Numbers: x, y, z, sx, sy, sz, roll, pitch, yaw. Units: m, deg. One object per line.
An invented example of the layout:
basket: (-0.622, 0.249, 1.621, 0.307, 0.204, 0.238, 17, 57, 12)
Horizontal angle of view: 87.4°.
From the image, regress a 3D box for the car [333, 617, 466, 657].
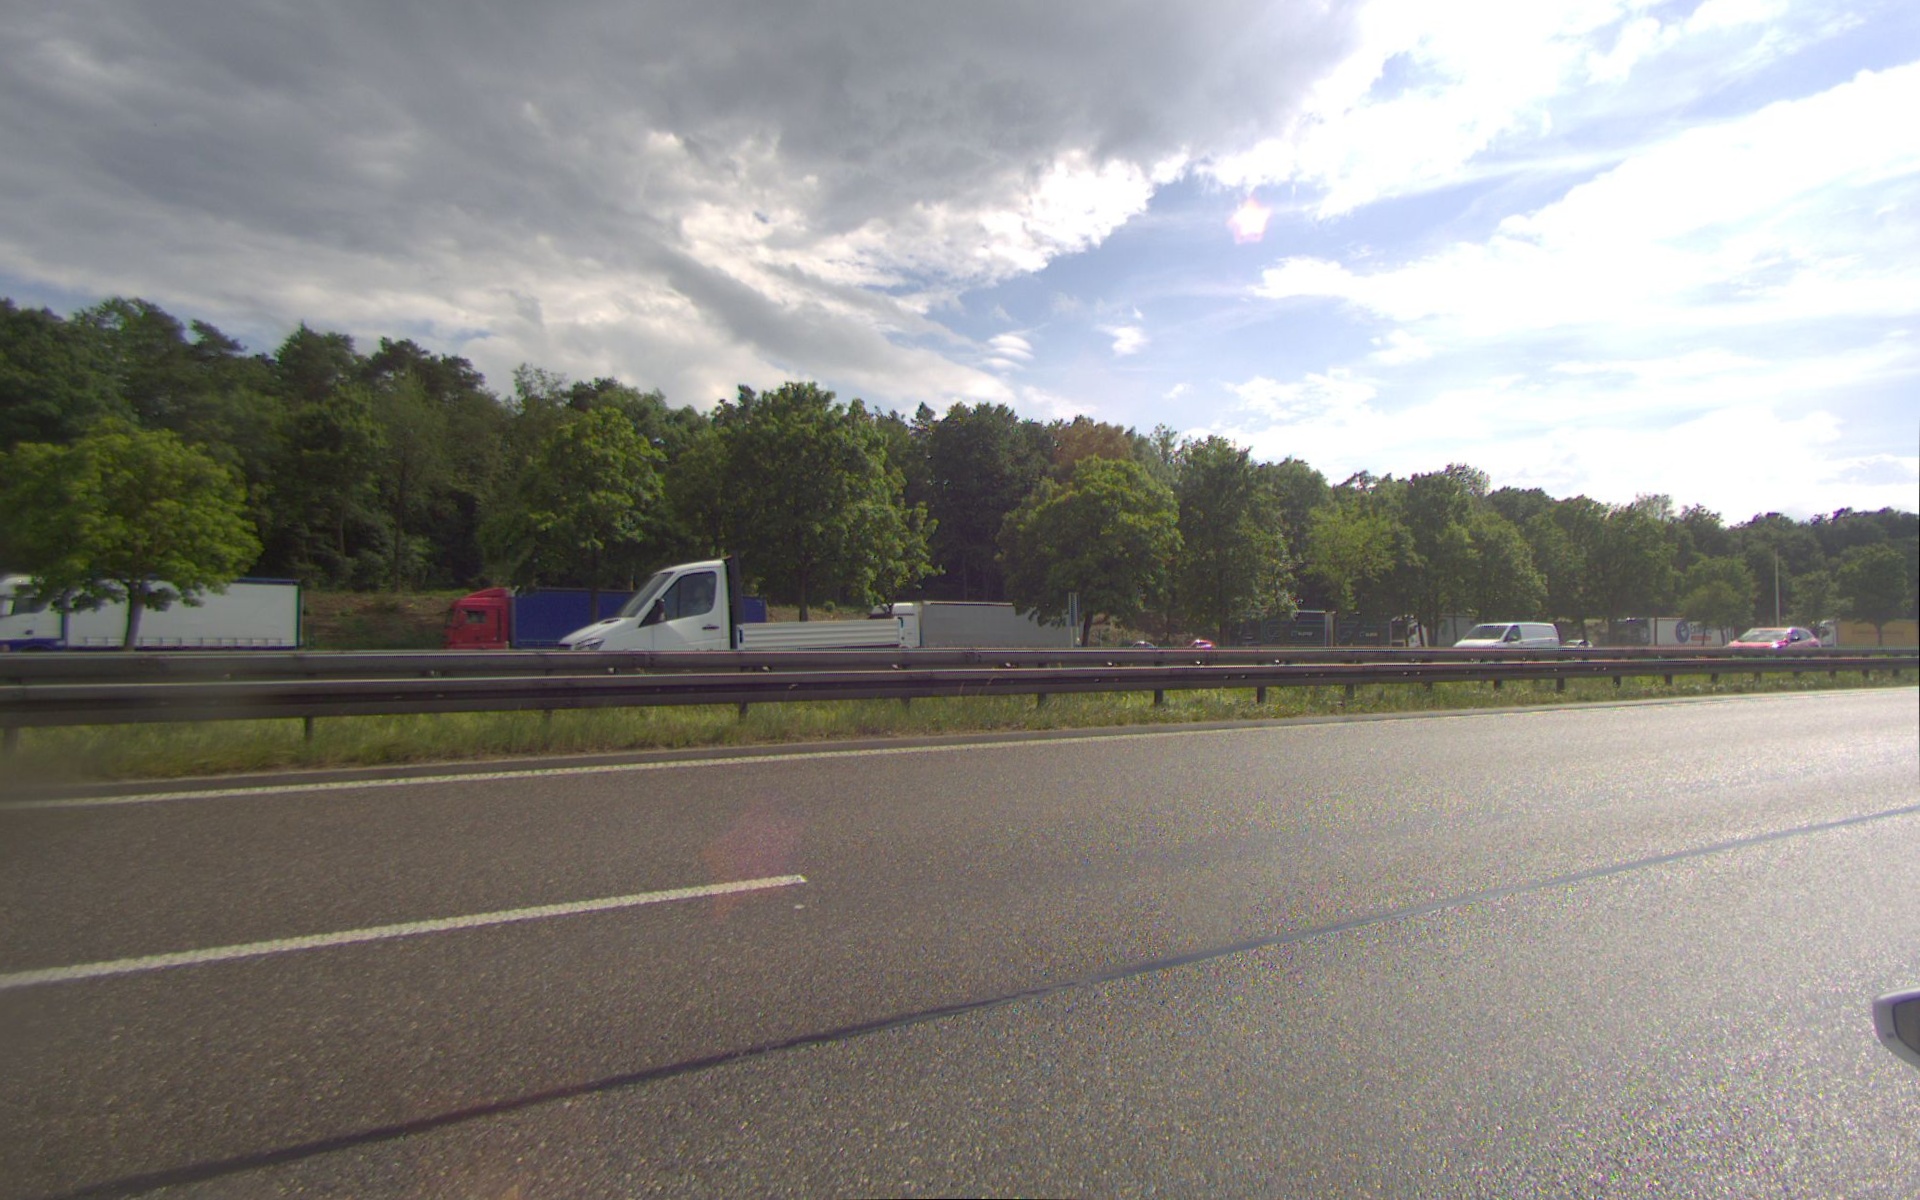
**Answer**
car: (-30.359, 2.007, 54.538, 6.080, 2.040, 1.978, 2, 0, -39)

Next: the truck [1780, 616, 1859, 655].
truck: (99.693, 4.099, 116.529, 6.931, 4.171, 3.787, 2, 0, -16)

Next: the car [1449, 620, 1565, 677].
car: (21.670, 1.921, 39.753, 4.723, 2.072, 1.821, 2, 0, -30)

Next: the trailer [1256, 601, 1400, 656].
trailer: (32.017, 2.476, 87.065, 13.633, 4.464, 3.773, 1, -1, -29)

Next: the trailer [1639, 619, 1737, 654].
trailer: (79.223, 3.946, 109.304, 10.346, 3.697, 3.781, 1, -1, -23)

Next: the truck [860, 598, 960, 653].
truck: (-3.185, 1.661, 64.560, 5.450, 3.316, 3.332, 2, 0, -34)

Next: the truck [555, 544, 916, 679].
truck: (-3.630, 0.231, 16.551, 5.383, 1.920, 2.246, 2, 0, -30)

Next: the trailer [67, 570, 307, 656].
trailer: (-31.951, 0.620, 41.853, 7.678, 3.275, 2.558, 2, -1, -40)

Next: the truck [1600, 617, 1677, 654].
truck: (71.537, 3.732, 105.941, 6.613, 3.709, 3.777, 2, 0, -24)

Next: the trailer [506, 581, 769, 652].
trailer: (-16.932, 0.956, 53.931, 13.303, 3.450, 2.802, 2, -1, -37)

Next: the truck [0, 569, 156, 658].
truck: (-34.783, 0.531, 39.346, 5.046, 3.311, 2.631, 2, 0, -40)

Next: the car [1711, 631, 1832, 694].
car: (29.339, 2.241, 36.297, 4.723, 2.072, 1.821, 2, 0, -30)

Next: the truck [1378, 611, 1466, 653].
truck: (42.404, 2.925, 92.238, 7.266, 3.637, 3.771, 2, 0, -29)

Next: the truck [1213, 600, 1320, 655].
truck: (25.421, 2.318, 83.286, 8.316, 4.290, 3.771, 2, 0, -29)

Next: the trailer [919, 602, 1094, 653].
trailer: (3.357, 1.898, 68.755, 12.337, 3.259, 3.329, 2, -1, -32)

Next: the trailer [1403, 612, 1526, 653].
trailer: (48.008, 3.102, 95.368, 13.182, 3.697, 3.773, 1, -1, -29)

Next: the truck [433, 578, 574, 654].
truck: (-22.542, 0.800, 49.672, 5.843, 3.502, 2.839, 2, 0, -37)

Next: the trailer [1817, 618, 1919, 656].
trailer: (107.651, 4.369, 118.856, 11.534, 4.171, 3.787, 2, 0, -16)
